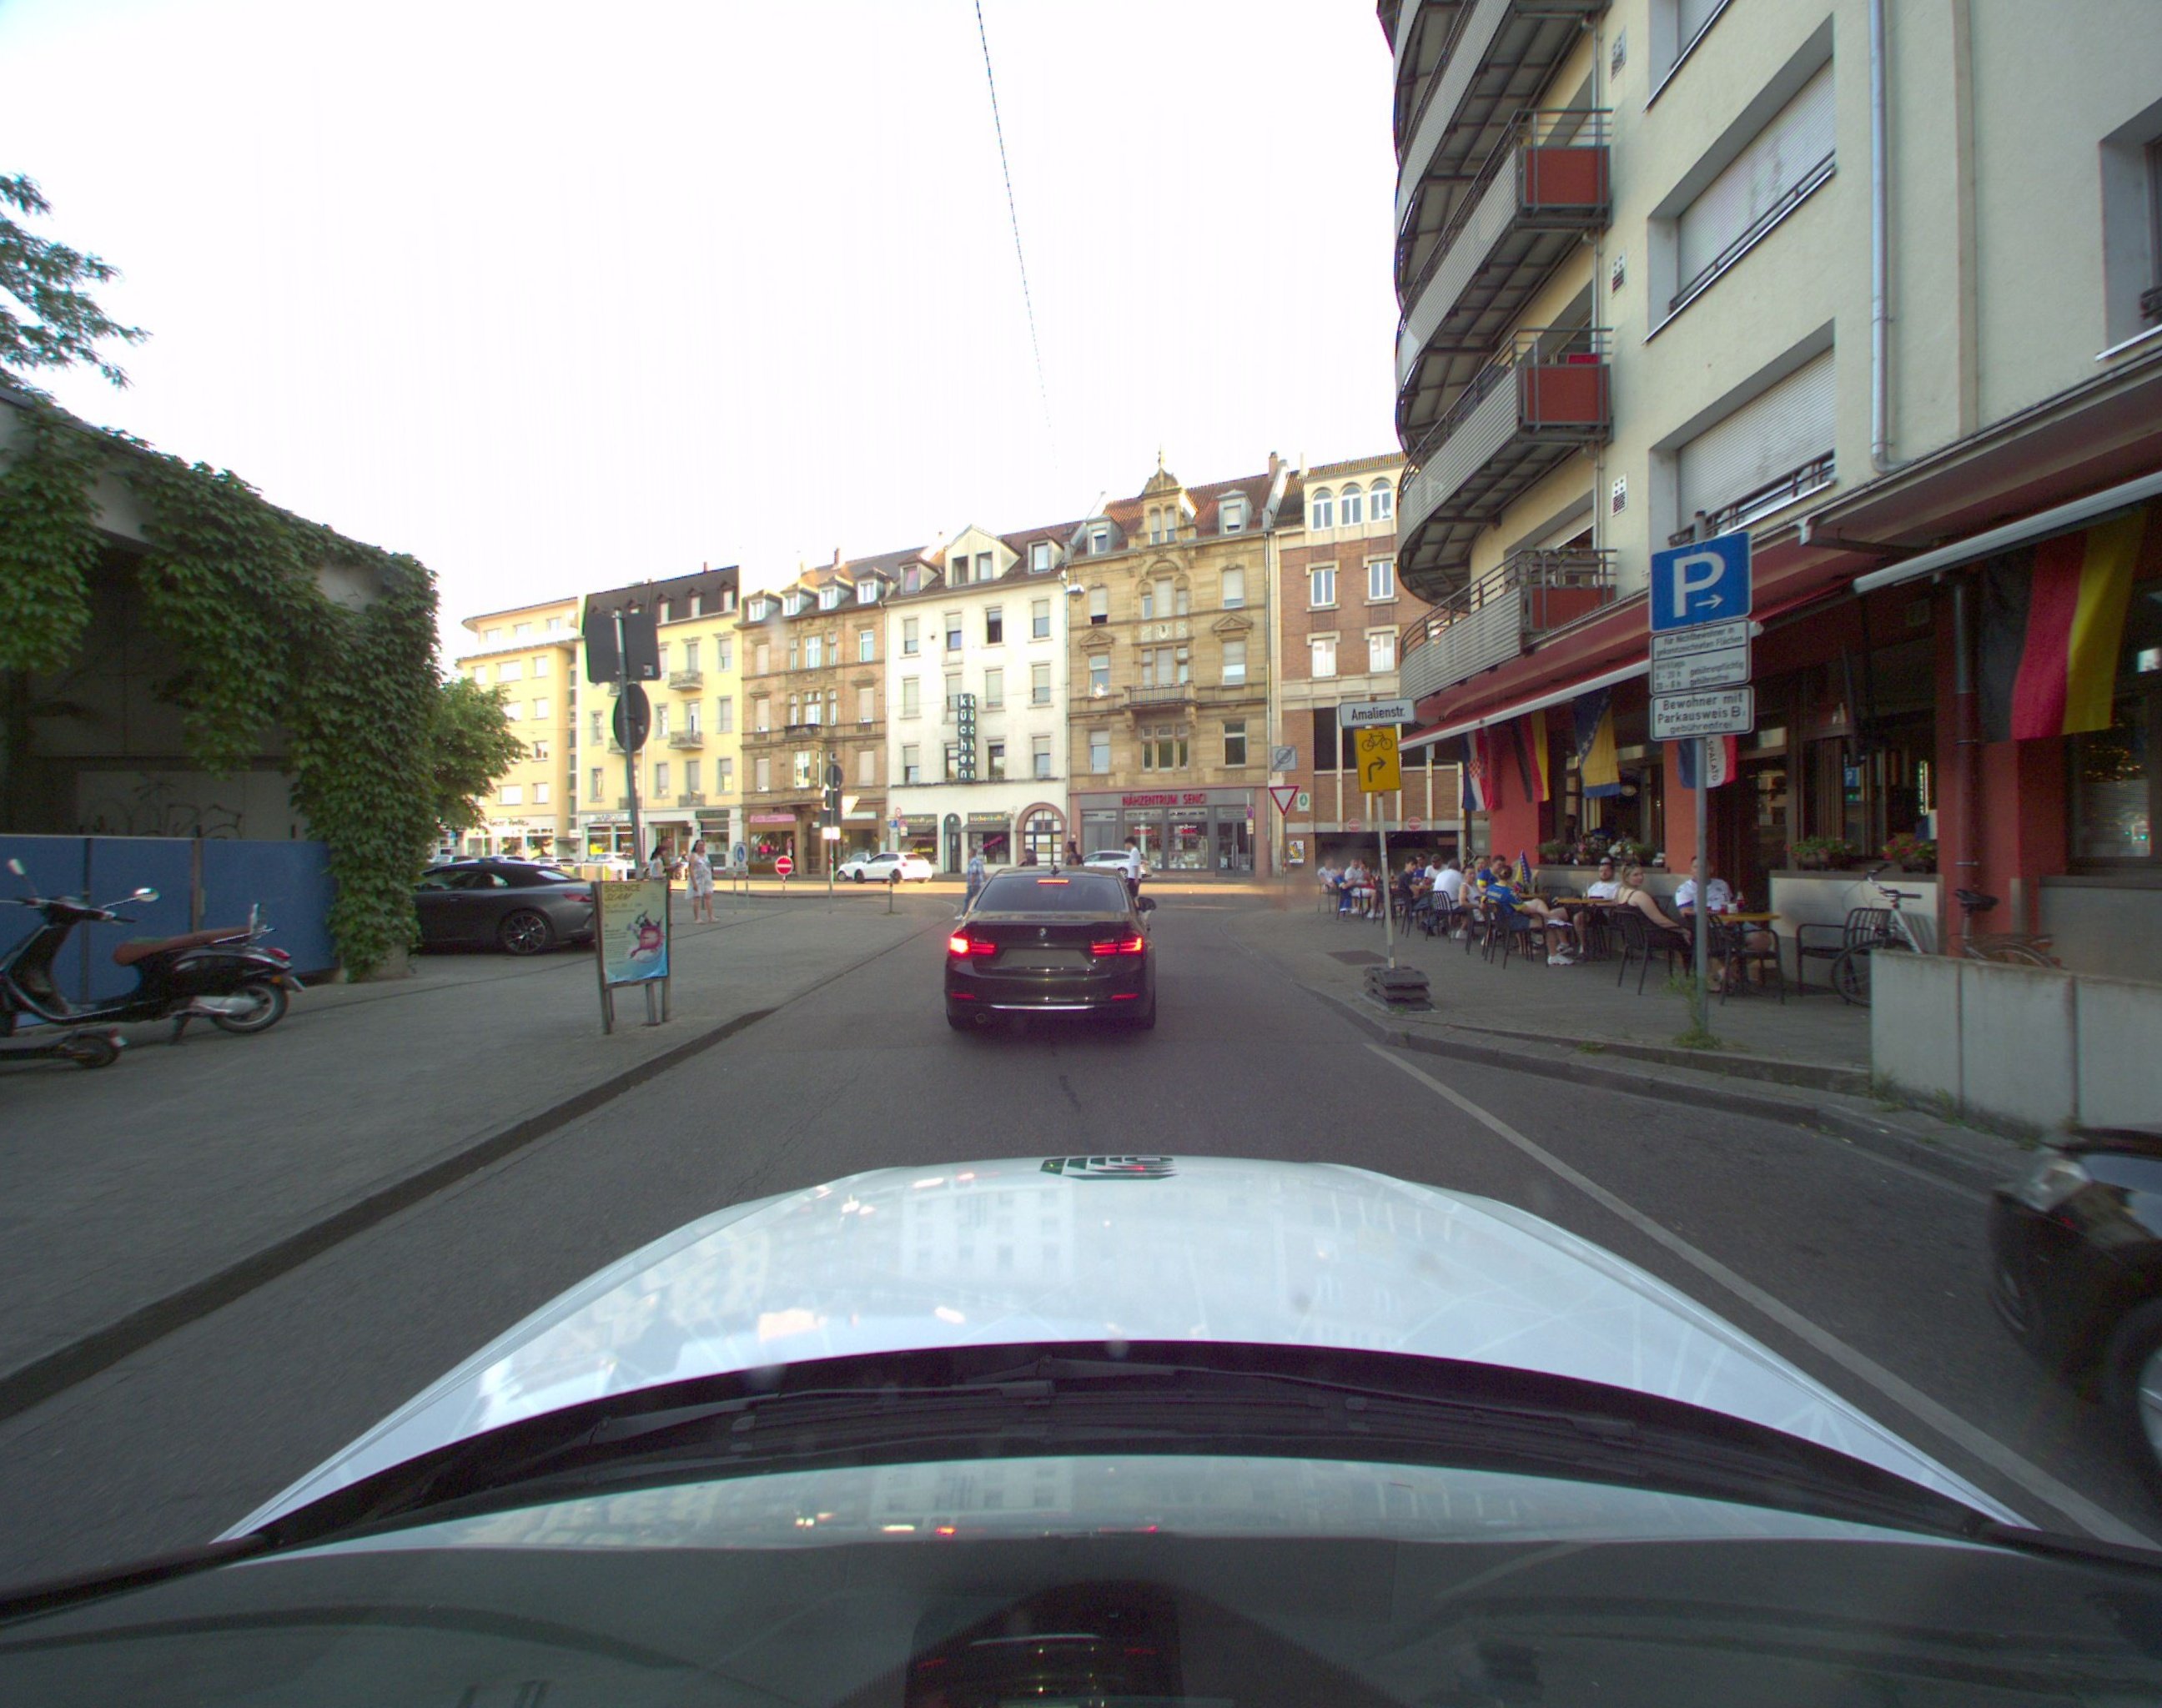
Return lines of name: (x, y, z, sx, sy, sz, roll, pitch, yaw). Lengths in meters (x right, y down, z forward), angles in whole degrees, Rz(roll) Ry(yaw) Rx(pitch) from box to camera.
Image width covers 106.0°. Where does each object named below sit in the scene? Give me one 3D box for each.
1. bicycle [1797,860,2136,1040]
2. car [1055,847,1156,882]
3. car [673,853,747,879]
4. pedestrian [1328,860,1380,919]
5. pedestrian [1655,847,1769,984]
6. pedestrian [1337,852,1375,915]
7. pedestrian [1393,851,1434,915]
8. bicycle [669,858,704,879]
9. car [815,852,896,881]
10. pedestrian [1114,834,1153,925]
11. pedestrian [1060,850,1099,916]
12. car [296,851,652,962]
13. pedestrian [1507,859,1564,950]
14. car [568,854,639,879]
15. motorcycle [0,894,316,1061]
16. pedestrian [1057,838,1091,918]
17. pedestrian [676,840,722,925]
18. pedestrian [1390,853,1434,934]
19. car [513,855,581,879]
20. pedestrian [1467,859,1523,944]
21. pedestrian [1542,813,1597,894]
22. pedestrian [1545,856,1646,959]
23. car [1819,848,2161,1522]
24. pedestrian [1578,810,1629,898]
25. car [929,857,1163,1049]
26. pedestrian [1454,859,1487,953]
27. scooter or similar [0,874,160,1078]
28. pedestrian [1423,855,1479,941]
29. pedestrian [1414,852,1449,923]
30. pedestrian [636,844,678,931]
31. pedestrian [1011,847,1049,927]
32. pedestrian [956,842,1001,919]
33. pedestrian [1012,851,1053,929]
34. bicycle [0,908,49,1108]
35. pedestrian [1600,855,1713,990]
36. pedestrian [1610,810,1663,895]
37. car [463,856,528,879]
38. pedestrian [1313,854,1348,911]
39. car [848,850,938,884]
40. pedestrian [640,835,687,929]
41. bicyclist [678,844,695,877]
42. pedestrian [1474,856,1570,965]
bicycle: (6.541, 0.648, 6.179, 0.534, 1.154, 1.740, -2, -2, -4)
car: (1.156, 0.513, 38.483, 4.313, 1.562, 1.878, -1, -1, 22)
car: (-22.325, 0.707, 48.966, 3.952, 1.510, 1.810, -1, -1, 22)
pedestrian: (5.493, 0.700, 16.410, 0.885, 1.149, 0.620, -1, 0, 7)
pedestrian: (6.536, 0.610, 8.470, 0.605, 1.348, 0.696, -2, 0, -1)
pedestrian: (5.768, 0.611, 17.105, 0.613, 1.284, 0.661, -1, 0, 8)
pedestrian: (6.875, 0.593, 16.839, 0.611, 1.279, 0.705, -1, 0, 37)
bicycle: (-21.291, 0.799, 43.933, 1.781, 1.107, 0.540, 0, 0, 15)
car: (-12.233, 0.689, 44.213, 3.952, 1.510, 1.810, -1, -1, 22)
pedestrian: (1.112, 0.517, 17.142, 0.693, 1.877, 0.681, 0, 0, 15)
pedestrian: (-0.028, 0.662, 18.841, 0.812, 1.474, 0.607, -1, 0, 4)
car: (-9.197, 0.735, 12.707, 3.985, 1.501, 1.886, -1, 0, -9)
pedestrian: (6.320, 0.693, 11.326, 0.421, 1.201, 0.531, -3, 0, -43)
car: (-29.987, 0.794, 51.162, 3.952, 1.510, 1.810, -1, -1, 22)
motorcycle: (-7.106, 0.886, 6.218, 1.758, 1.101, 0.561, 1, 0, -35)
pedestrian: (-0.148, 0.520, 18.198, 0.664, 1.746, 0.608, -1, 0, 6)
pedestrian: (-8.082, 0.576, 17.233, 0.661, 1.746, 0.666, -1, 0, -45)
pedestrian: (5.493, 0.641, 13.527, 0.489, 1.303, 0.418, -3, 0, 0)
car: (-35.086, 0.865, 53.485, 3.952, 1.510, 1.810, -1, -1, 22)
pedestrian: (6.142, 0.692, 12.082, 0.421, 1.201, 0.562, -3, 0, -42)
pedestrian: (9.883, -0.011, 16.489, 0.717, 1.607, 0.682, 1, 0, -27)
pedestrian: (6.604, 0.664, 10.486, 0.776, 1.223, 0.714, -3, 0, 0)
car: (3.298, 0.781, 0.280, 1.759, 1.502, 4.790, 2, 0, 0)
pedestrian: (9.832, -0.001, 15.343, 0.533, 1.607, 0.605, 1, 0, -21)
car: (-0.240, 0.759, 8.539, 1.759, 1.375, 4.790, 0, 0, 0)
pedestrian: (5.400, 0.715, 11.289, 0.340, 1.257, 0.362, -3, 0, 25)
scooter or similar: (-6.982, 0.774, 5.323, 1.207, 1.274, 0.420, 1, 0, -16)
pedestrian: (5.830, 0.684, 12.827, 0.631, 1.276, 0.505, -3, 0, -38)
pedestrian: (6.481, 0.607, 15.064, 0.486, 1.276, 0.523, -1, 0, 13)
pedestrian: (-8.258, 0.638, 15.860, 0.498, 1.643, 0.521, -1, 0, 2)
pedestrian: (-1.064, 0.671, 16.897, 0.724, 1.609, 0.648, 1, 0, -9)
pedestrian: (-2.351, 0.593, 18.738, 0.891, 1.725, 0.609, 1, 2, 6)
pedestrian: (-0.964, 0.701, 16.230, 0.735, 1.513, 0.648, 1, 0, -9)
bicycle: (-6.972, 0.859, 4.521, 1.789, 1.107, 0.500, 1, 0, -1)
pedestrian: (5.710, 0.660, 8.115, 0.683, 1.286, 0.610, -2, -1, 9)
pedestrian: (10.948, -0.031, 16.039, 0.692, 1.607, 0.707, 1, 0, -42)
car: (-40.322, 0.937, 56.096, 3.952, 1.510, 1.810, -1, -1, 22)
pedestrian: (5.607, 0.626, 18.318, 0.614, 1.254, 0.736, -1, 0, 6)
car: (-8.665, 0.567, 37.509, 3.948, 1.473, 1.896, -1, 0, 37)
pedestrian: (-8.503, 0.554, 16.604, 0.580, 1.882, 0.634, -1, 0, 5)
bicyclist: (-21.300, 0.368, 43.933, 0.613, 1.756, 0.527, 0, 0, 15)
pedestrian: (5.419, 0.674, 10.036, 0.856, 1.257, 0.491, -3, 0, -1)
